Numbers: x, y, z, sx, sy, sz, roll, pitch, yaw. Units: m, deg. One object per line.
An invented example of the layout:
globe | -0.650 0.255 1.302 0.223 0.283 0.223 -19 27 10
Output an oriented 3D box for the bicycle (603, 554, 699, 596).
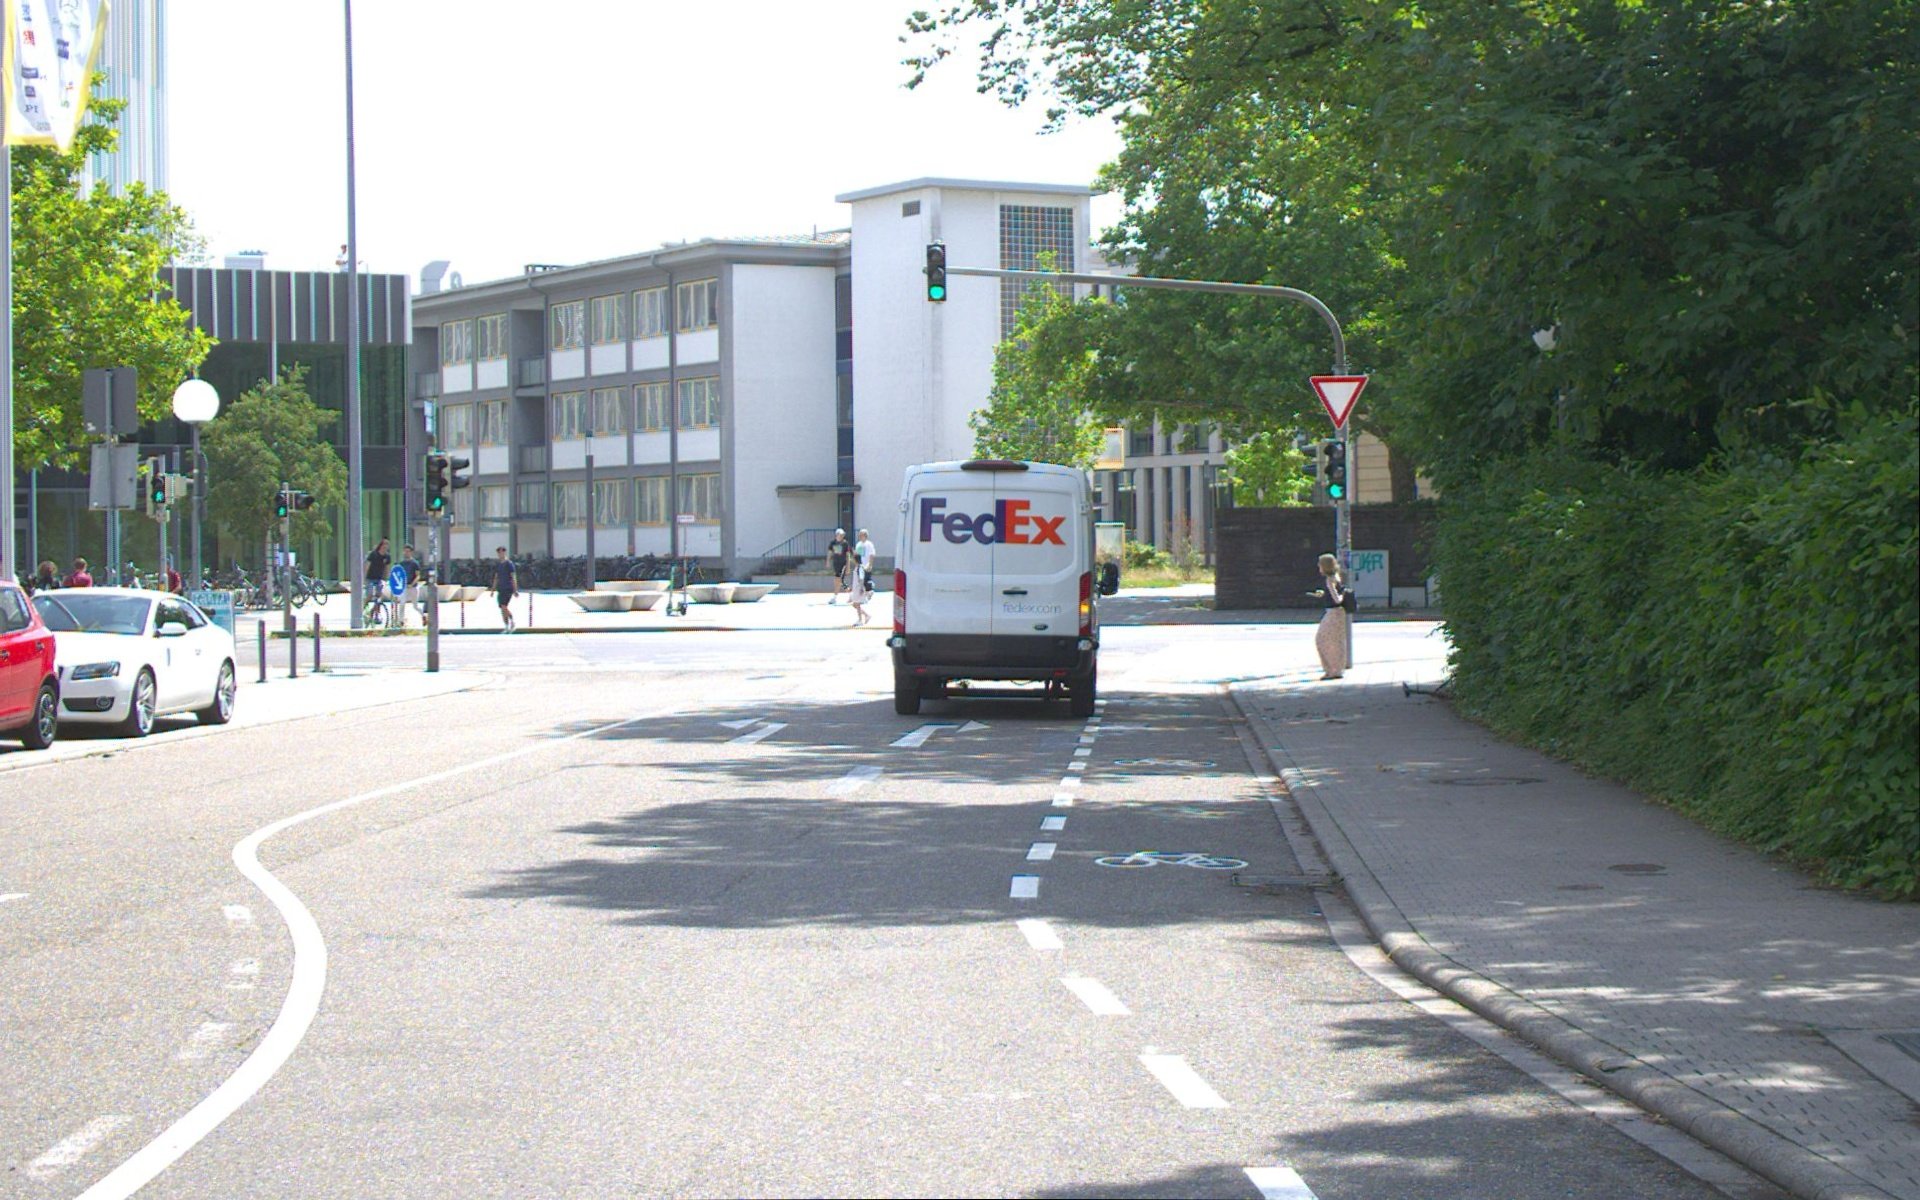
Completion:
bicycle | -10.155 -0.825 112.997 2.956 1.359 1.117 0 1 -34

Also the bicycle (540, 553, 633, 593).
bicycle | -12.678 -0.913 116.611 2.956 1.359 1.117 0 1 -34

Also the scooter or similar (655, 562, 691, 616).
scooter or similar | -6.617 -0.266 79.188 0.716 1.174 2.726 0 1 -7

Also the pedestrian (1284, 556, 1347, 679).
pedestrian | 4.572 0.218 44.256 0.731 1.570 0.775 1 1 2

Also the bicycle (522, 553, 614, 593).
bicycle | -13.408 -0.925 117.717 2.956 1.359 1.117 0 1 -34

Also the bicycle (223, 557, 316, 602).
bicycle | -19.140 -0.573 95.235 1.197 1.233 2.950 0 1 -42

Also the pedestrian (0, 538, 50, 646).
pedestrian | -16.220 -0.144 58.567 0.862 1.812 1.094 0 1 27

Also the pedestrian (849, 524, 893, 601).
pedestrian | -2.193 -0.933 84.601 0.865 1.883 0.913 0 1 -16

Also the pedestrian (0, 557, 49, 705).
pedestrian | -12.074 0.388 43.714 0.719 1.853 0.770 0 1 5

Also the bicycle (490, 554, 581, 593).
bicycle | -14.788 -0.921 119.889 2.956 1.359 1.117 0 1 -34

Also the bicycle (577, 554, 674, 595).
bicycle | -11.131 -0.844 114.327 2.956 1.359 1.275 0 1 -34

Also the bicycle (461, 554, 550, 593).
bicycle | -16.111 -0.949 121.876 2.956 1.359 1.117 0 1 -34

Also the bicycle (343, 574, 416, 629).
bicycle | -12.159 0.029 72.060 0.771 1.118 2.025 0 1 13

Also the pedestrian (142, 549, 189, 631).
pedestrian | -16.386 -0.207 70.922 0.753 1.672 0.755 -1 1 2

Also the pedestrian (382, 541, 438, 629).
pedestrian | -11.984 -0.333 74.991 0.703 1.849 1.398 0 2 13

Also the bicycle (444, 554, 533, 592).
bicycle | -16.925 -0.969 123.416 2.956 1.359 1.117 0 1 -34

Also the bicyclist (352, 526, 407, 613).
bicyclist | -12.154 -0.645 72.036 0.790 1.811 0.999 0 1 13

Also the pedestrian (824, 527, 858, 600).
pedestrian | -2.957 -0.907 85.381 0.668 1.809 0.816 0 1 -16

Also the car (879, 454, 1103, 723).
car | 0.415 -0.158 35.783 2.095 2.558 5.602 -1 1 3

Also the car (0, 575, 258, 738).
car | -8.309 0.496 33.477 1.677 1.390 4.662 2 1 4

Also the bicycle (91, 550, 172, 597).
bicycle | -22.455 -0.723 93.150 1.197 1.233 2.951 0 1 -34

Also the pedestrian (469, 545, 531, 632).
pedestrian | -9.873 -0.251 73.798 0.831 1.864 1.083 0 1 27

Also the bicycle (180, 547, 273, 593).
bicycle | -20.178 -0.833 94.517 1.197 1.233 2.950 0 1 -42

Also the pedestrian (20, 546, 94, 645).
pedestrian | -15.198 -0.083 57.869 0.826 1.649 0.861 0 1 21

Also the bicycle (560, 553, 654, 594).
bicycle | -11.848 -0.890 115.391 2.956 1.359 1.117 0 1 -34

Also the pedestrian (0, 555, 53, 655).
pedestrian | -15.219 0.076 55.684 0.770 1.592 0.798 -1 1 5

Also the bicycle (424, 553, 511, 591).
bicycle | -17.957 -1.009 125.330 2.956 1.359 1.117 0 1 -34

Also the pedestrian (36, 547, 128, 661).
pedestrian | -14.086 0.062 55.155 0.807 1.801 1.265 0 1 23

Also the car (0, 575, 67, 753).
car | -8.844 0.526 28.354 1.677 1.462 3.910 2 1 4

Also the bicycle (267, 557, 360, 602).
bicycle | -18.055 -0.584 95.960 1.197 1.233 2.950 0 1 -42

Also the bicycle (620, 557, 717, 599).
bicycle | -9.477 -0.705 111.852 2.956 1.359 1.117 0 1 -34

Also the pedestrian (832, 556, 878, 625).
pedestrian | -2.329 -0.216 76.018 0.824 1.518 0.815 0 1 -16

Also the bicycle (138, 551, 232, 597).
bicycle | -21.126 -0.720 93.663 1.197 1.233 2.950 0 1 -42
